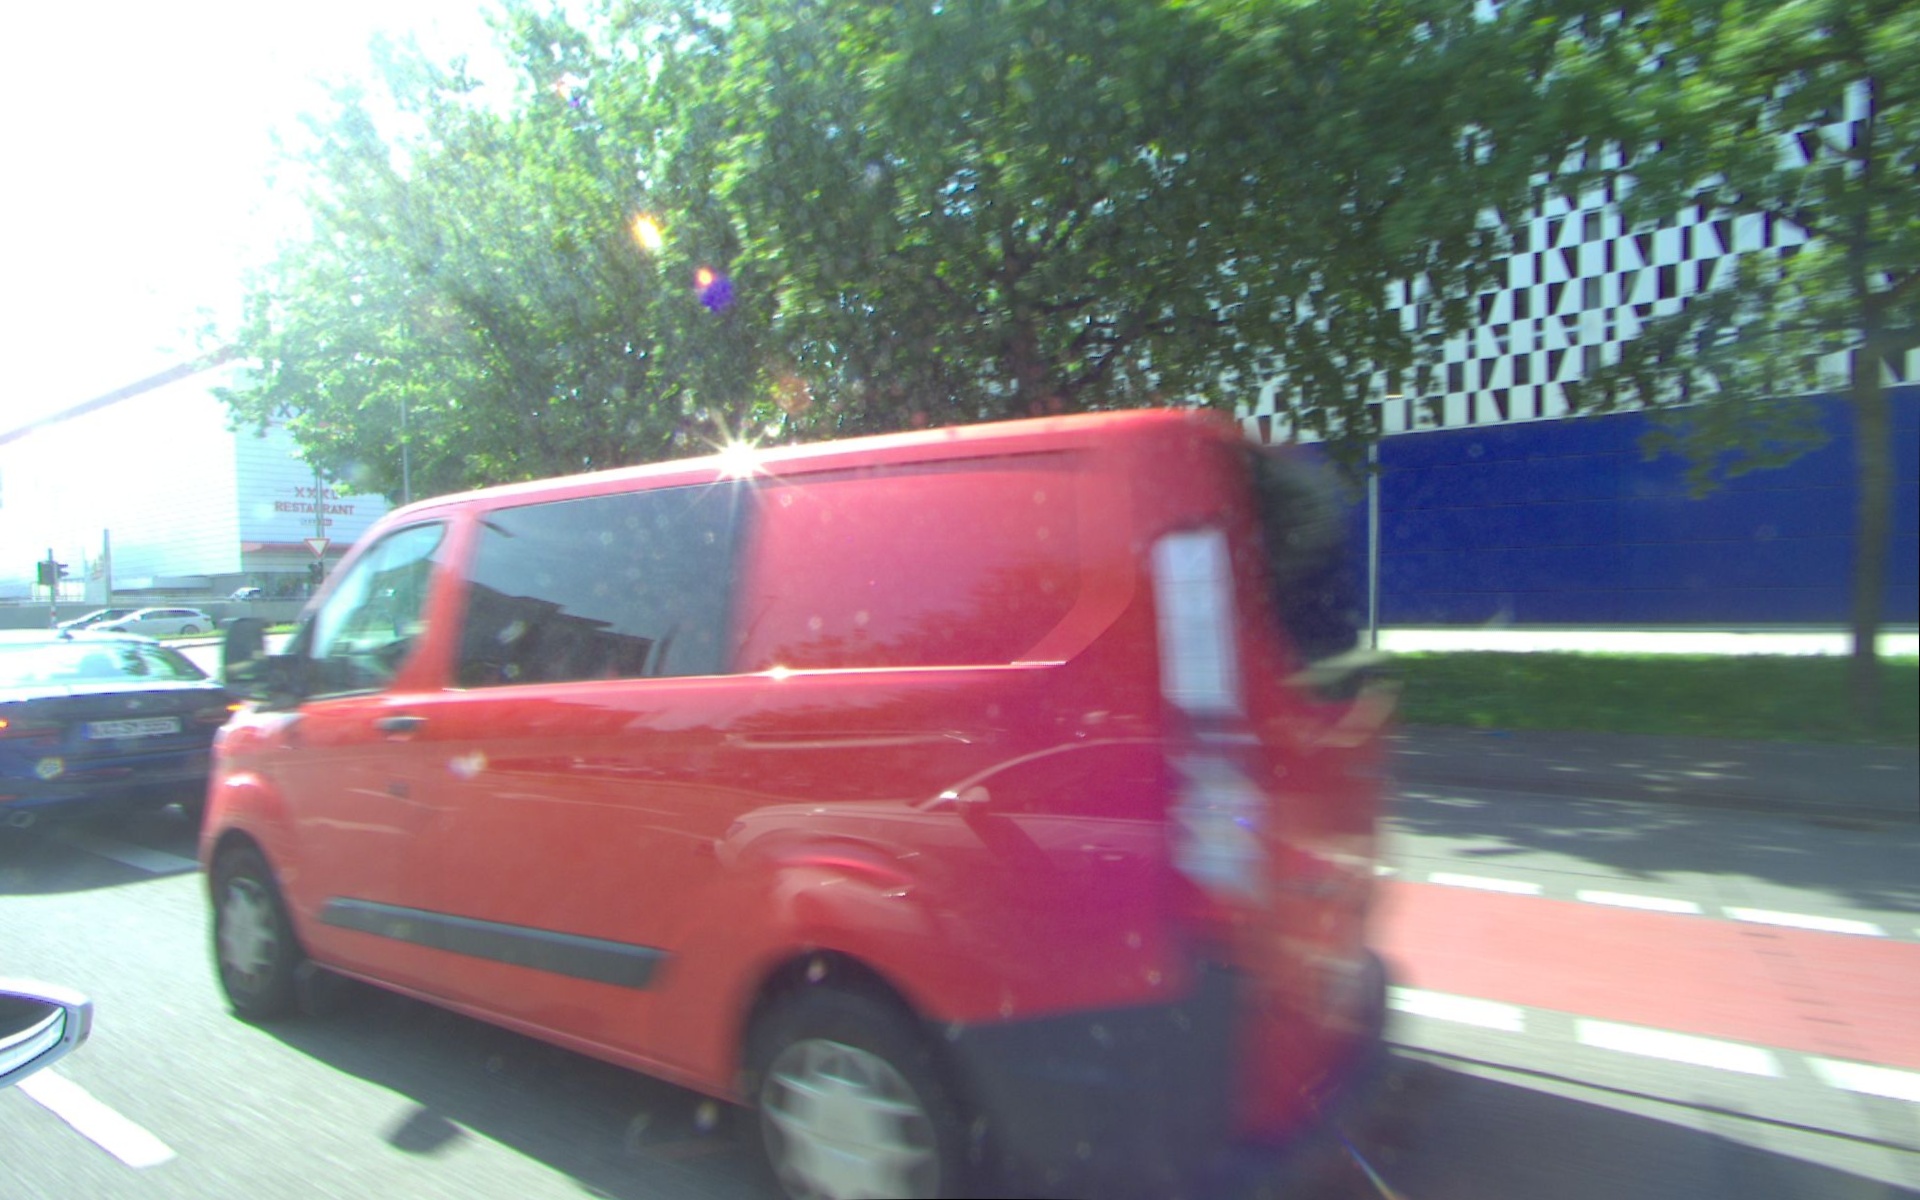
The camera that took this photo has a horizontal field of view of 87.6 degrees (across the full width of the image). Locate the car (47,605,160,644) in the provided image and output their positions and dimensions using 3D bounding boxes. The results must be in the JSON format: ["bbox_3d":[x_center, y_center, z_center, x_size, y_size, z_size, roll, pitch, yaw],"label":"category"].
[{"bbox_3d":[-40.375,1.141,47.259,1.462,1.540,3.757,-1,3,37],"label":"car"}]

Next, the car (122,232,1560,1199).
[{"bbox_3d":[-0.794,0.518,3.604,5.052,1.993,1.964,-1,-1,32],"label":"car"}]

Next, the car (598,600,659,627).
[{"bbox_3d":[-22.654,0.895,68.522,1.462,1.540,3.757,-1,3,37],"label":"car"}]

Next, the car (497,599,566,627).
[{"bbox_3d":[-27.550,0.796,64.474,1.462,1.540,3.757,-1,3,37],"label":"car"}]

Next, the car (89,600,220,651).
[{"bbox_3d":[-37.197,1.137,46.359,1.462,2.022,4.383,0,3,37],"label":"car"}]

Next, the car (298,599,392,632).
[{"bbox_3d":[-33.995,0.851,55.437,1.462,1.540,4.115,-1,3,37],"label":"car"}]

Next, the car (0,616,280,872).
[{"bbox_3d":[-7.106,0.867,7.486,4.412,1.477,1.743,-1,-1,32],"label":"car"}]
